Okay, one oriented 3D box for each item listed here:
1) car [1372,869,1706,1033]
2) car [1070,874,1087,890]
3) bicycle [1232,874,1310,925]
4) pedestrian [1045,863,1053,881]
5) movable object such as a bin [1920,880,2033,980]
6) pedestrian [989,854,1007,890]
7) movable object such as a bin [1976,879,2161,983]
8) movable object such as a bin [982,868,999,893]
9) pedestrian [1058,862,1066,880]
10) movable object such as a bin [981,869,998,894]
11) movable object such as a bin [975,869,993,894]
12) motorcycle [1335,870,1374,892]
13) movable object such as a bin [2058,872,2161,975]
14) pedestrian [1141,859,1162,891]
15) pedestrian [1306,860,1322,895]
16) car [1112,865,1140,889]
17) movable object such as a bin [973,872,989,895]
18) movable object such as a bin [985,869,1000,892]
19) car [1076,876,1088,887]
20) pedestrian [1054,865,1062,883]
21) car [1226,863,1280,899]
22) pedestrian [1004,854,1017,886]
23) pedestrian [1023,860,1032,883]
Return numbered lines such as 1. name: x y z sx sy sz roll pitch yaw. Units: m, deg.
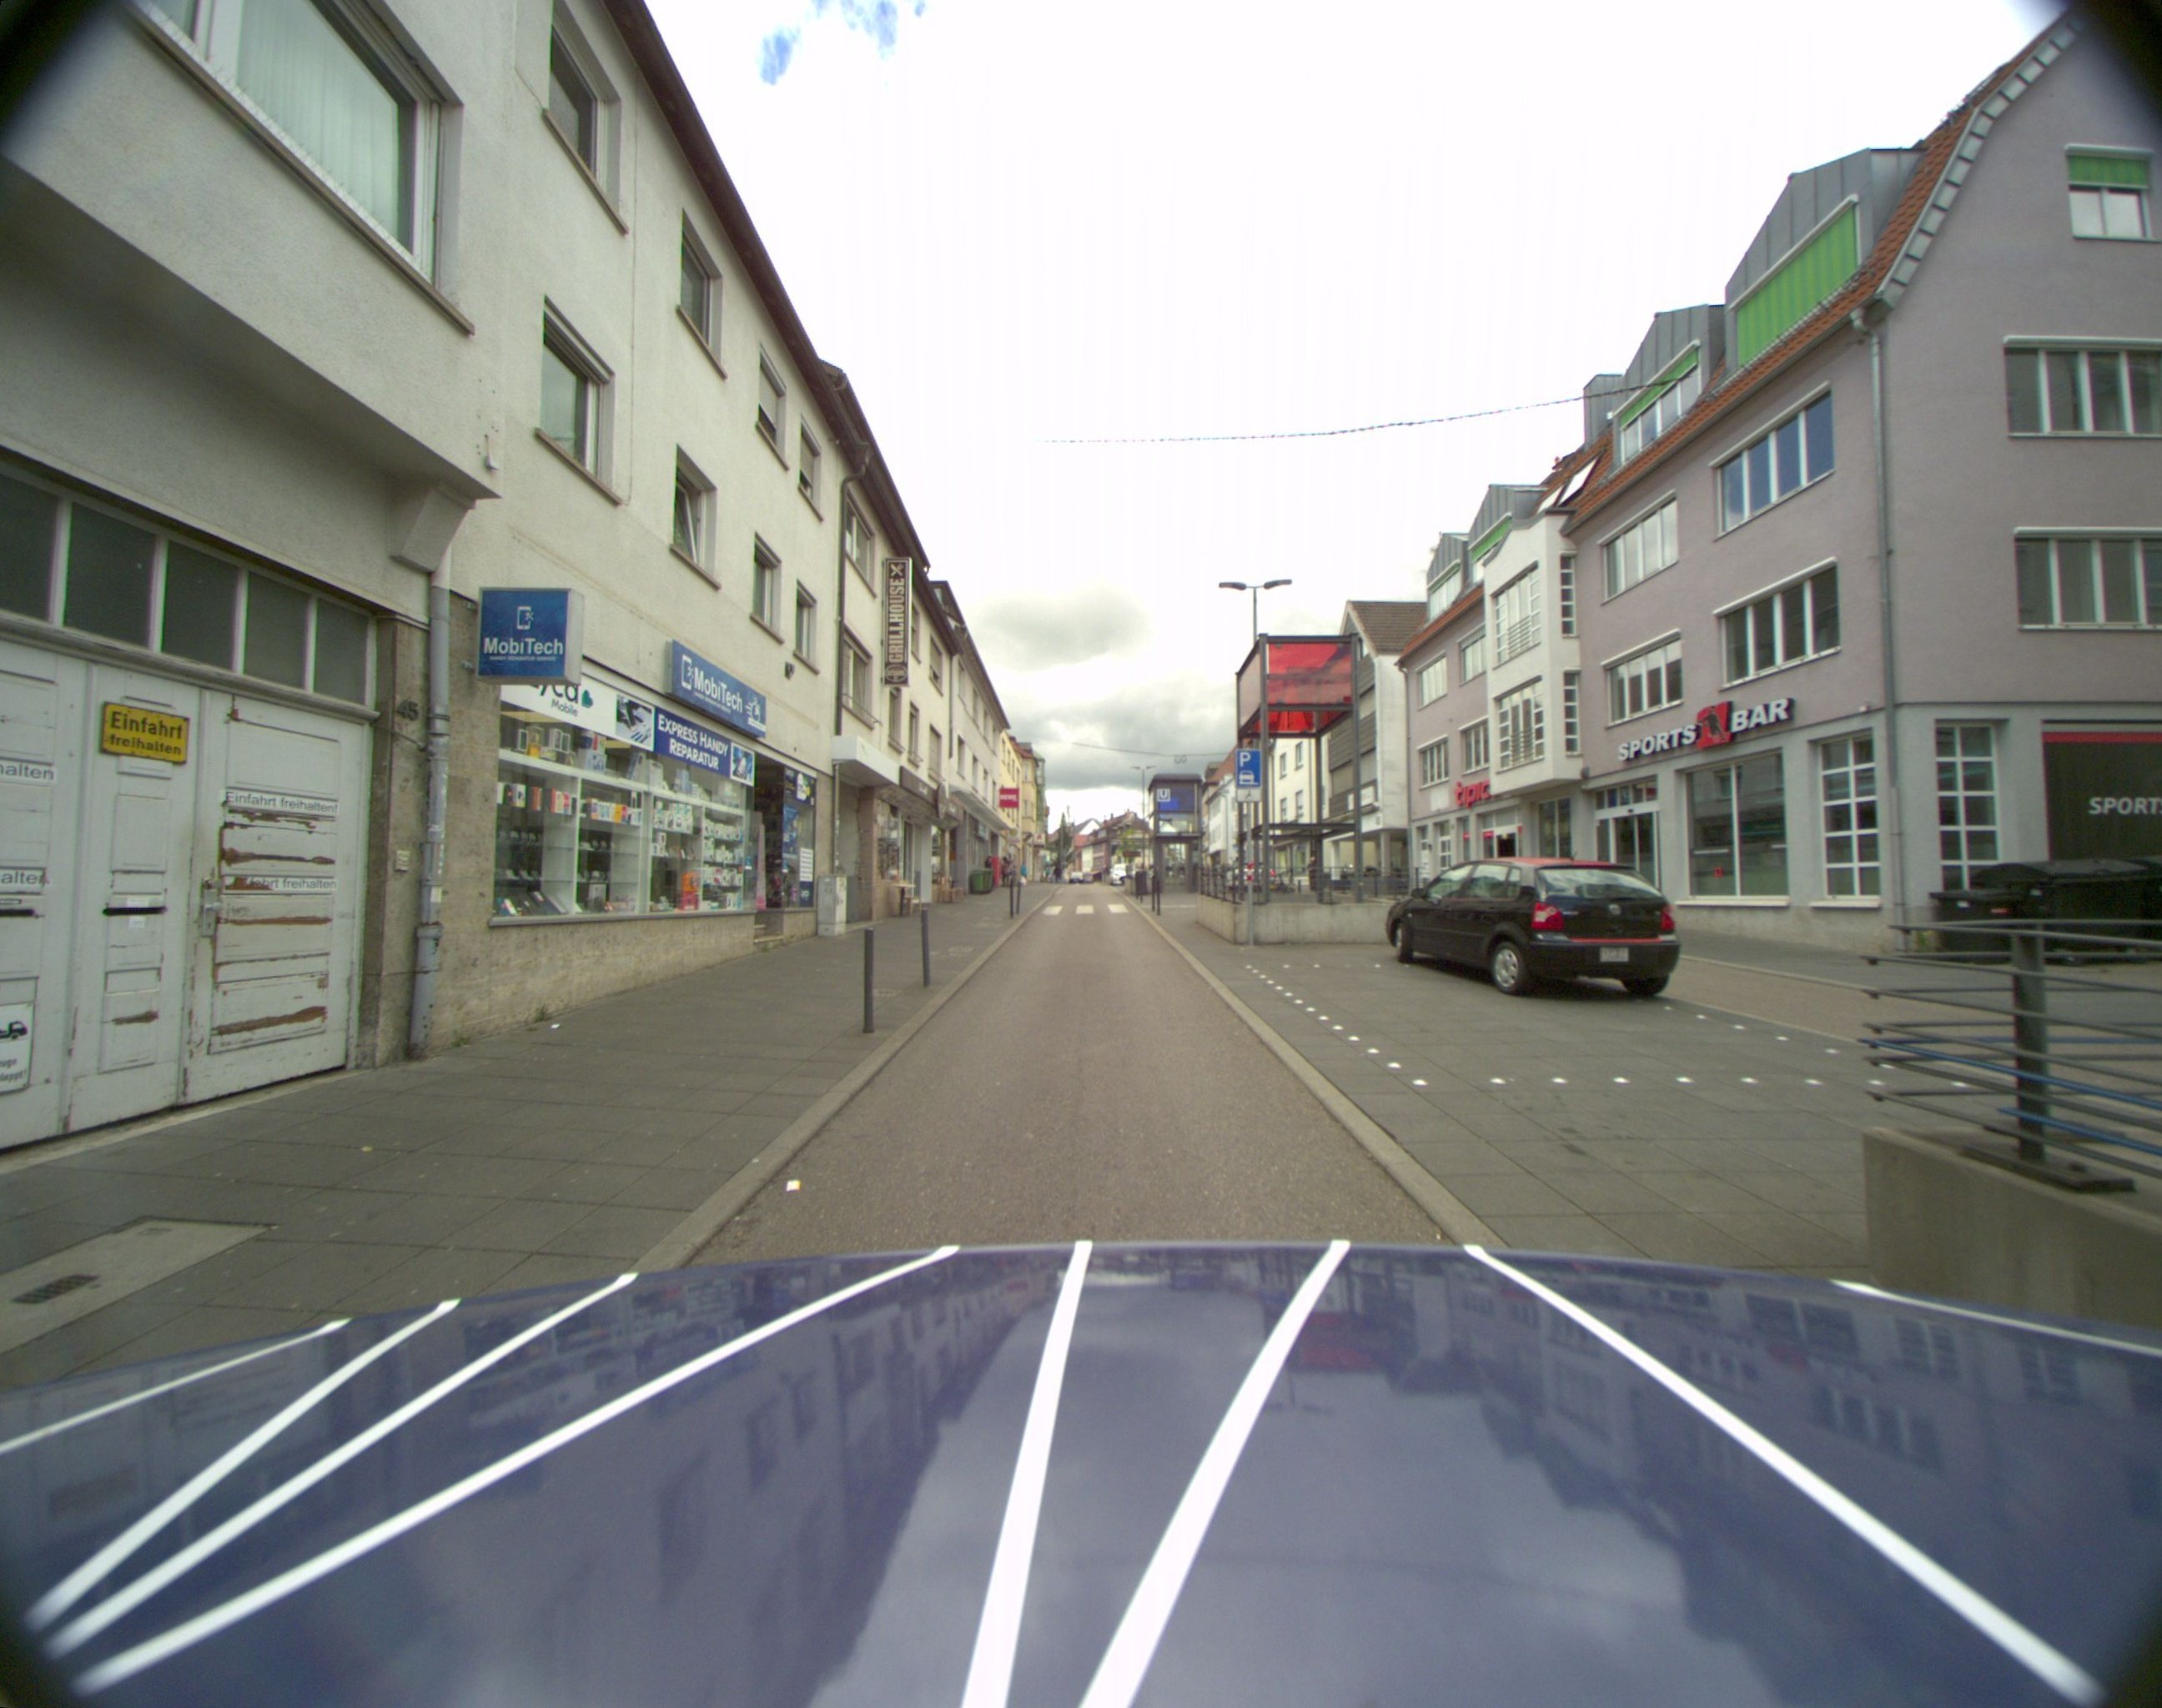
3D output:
1. car: 5.105 0.956 9.155 1.573 1.466 3.855 -1 0 -3
2. car: -0.265 3.050 84.190 1.741 1.608 3.843 -2 0 0
3. bicycle: 4.606 1.097 18.480 1.782 1.216 0.460 0 1 0
4. pedestrian: -2.928 1.606 69.182 0.657 1.620 0.743 -2 1 -6
5. movable object such as a bin: 12.990 1.082 11.049 0.691 1.368 0.808 0 0 0
6. pedestrian: -3.970 0.848 36.371 0.628 1.716 0.606 -2 1 -23
7. movable object such as a bin: 14.073 1.065 10.871 1.286 1.368 1.067 0 0 0
8. movable object such as a bin: -3.997 1.184 33.710 0.652 1.074 0.659 0 0 1
9. pedestrian: -1.676 1.510 67.784 0.657 1.620 0.743 -2 1 -2
10. movable object such as a bin: -3.983 1.181 32.996 0.652 1.074 0.673 0 0 1
11. movable object such as a bin: -4.120 1.171 32.313 0.670 1.024 0.560 0 0 1
12. motorcycle: 14.692 1.454 40.804 1.854 1.134 0.634 -2 1 0
13. movable object such as a bin: 15.415 0.960 10.791 1.286 1.368 1.407 0 0 0
14. pedestrian: 4.199 1.240 45.422 1.097 1.831 0.931 -2 1 1
15. pedestrian: 11.441 1.135 37.358 0.592 1.706 0.513 -2 1 1
16. car: 3.023 1.533 51.648 1.754 1.452 3.601 -2 0 1
17. movable object such as a bin: -4.177 1.228 31.701 0.568 0.951 0.498 0 0 1
18. movable object such as a bin: -4.000 1.194 34.355 0.569 1.053 0.574 0 0 1
19. car: 0.152 4.409 121.665 1.741 1.608 3.999 -2 0 -2
20. pedestrian: -2.099 1.825 69.178 0.657 1.620 0.743 -2 1 -6
21. car: 8.340 1.260 37.104 1.684 1.562 4.122 -2 0 0
22. pedestrian: -3.788 0.851 40.741 0.627 1.715 0.607 2 0 -5
23. pedestrian: -3.849 1.261 54.459 0.627 1.620 0.607 -2 1 -5
